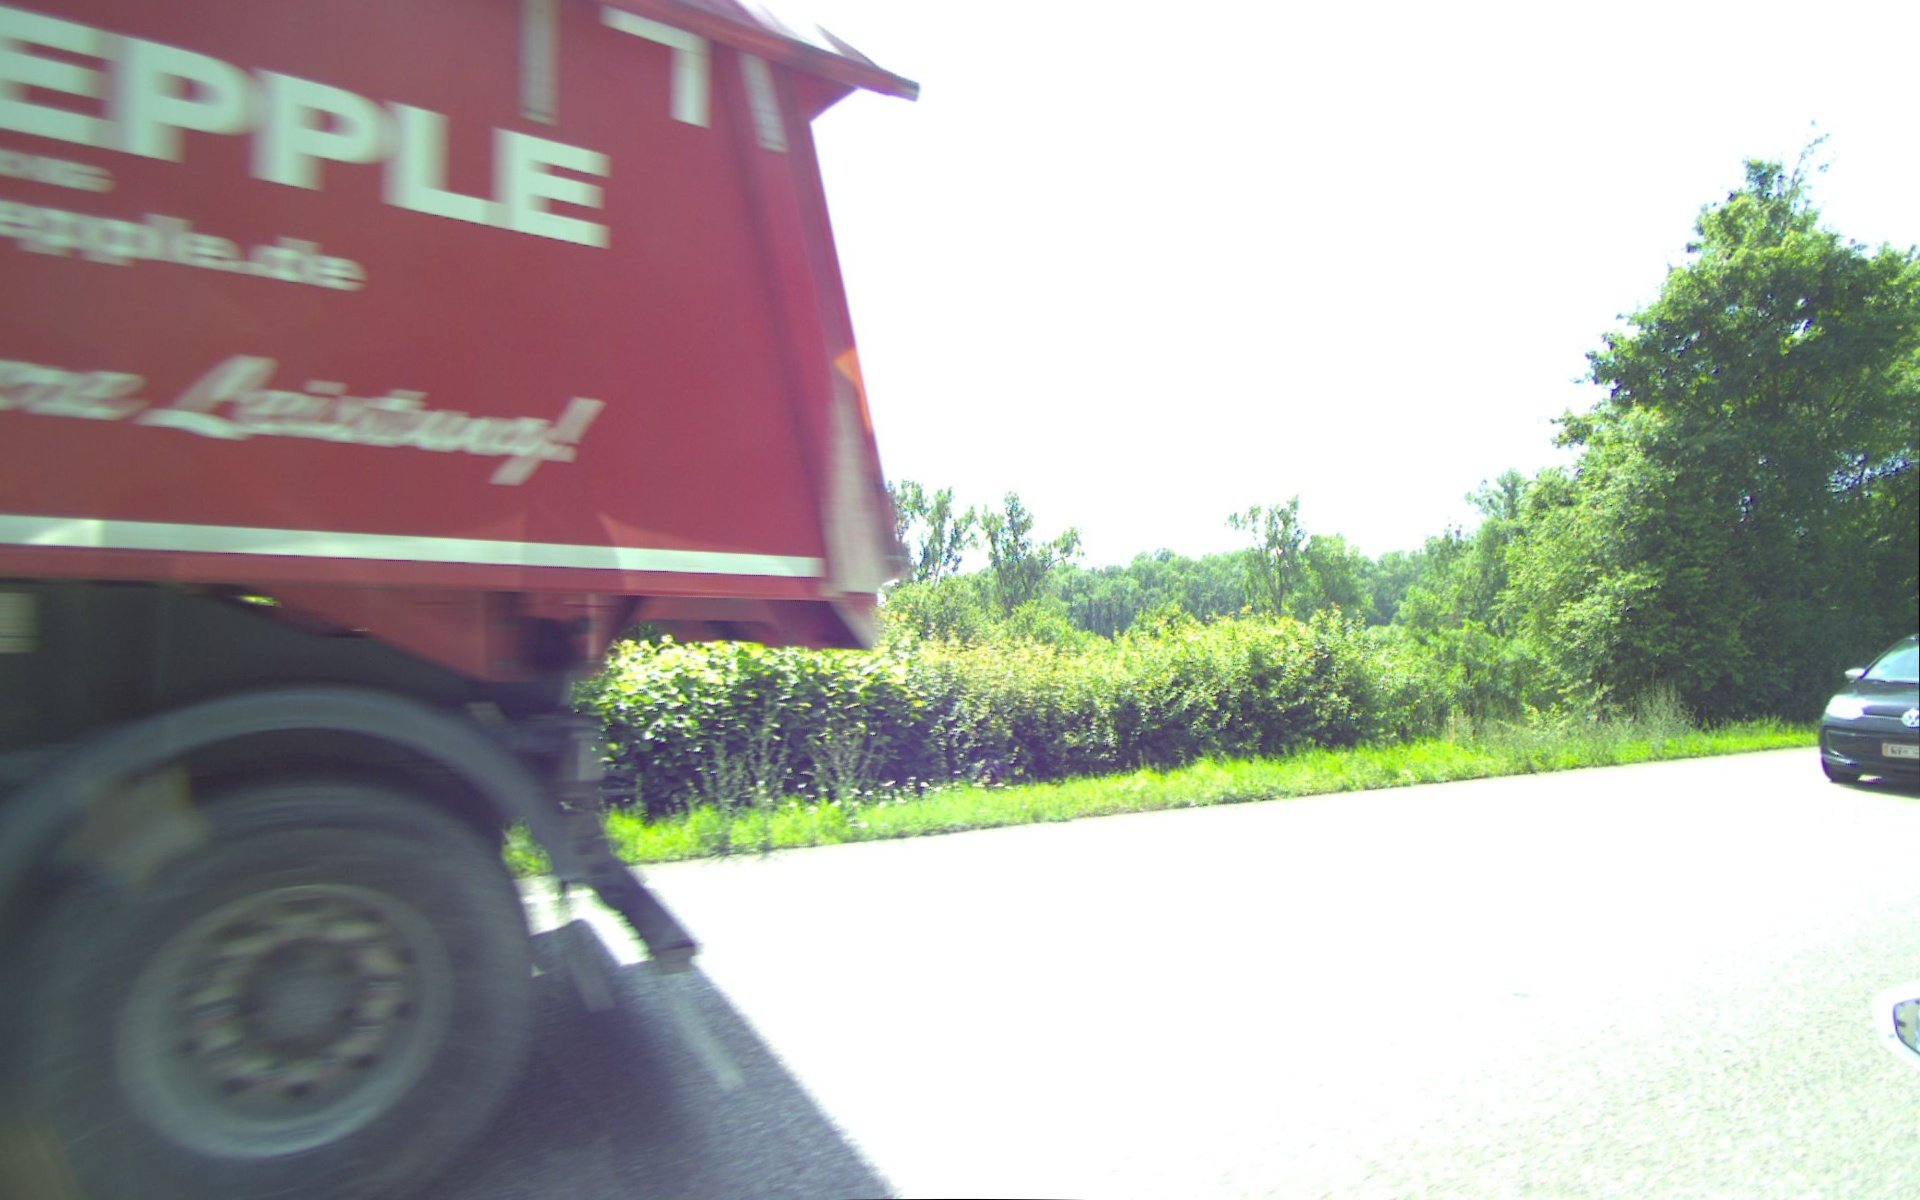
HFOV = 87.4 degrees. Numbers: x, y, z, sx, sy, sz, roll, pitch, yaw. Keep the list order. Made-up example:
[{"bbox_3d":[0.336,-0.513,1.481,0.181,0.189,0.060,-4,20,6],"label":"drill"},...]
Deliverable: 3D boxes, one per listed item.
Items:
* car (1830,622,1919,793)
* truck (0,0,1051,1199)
[{"bbox_3d":[9.879,0.983,9.543,3.232,1.490,1.423,1,-1,-29],"label":"car"},{"bbox_3d":[-5.747,-0.368,1.039,12.485,3.498,2.540,2,-1,-30],"label":"truck"}]
